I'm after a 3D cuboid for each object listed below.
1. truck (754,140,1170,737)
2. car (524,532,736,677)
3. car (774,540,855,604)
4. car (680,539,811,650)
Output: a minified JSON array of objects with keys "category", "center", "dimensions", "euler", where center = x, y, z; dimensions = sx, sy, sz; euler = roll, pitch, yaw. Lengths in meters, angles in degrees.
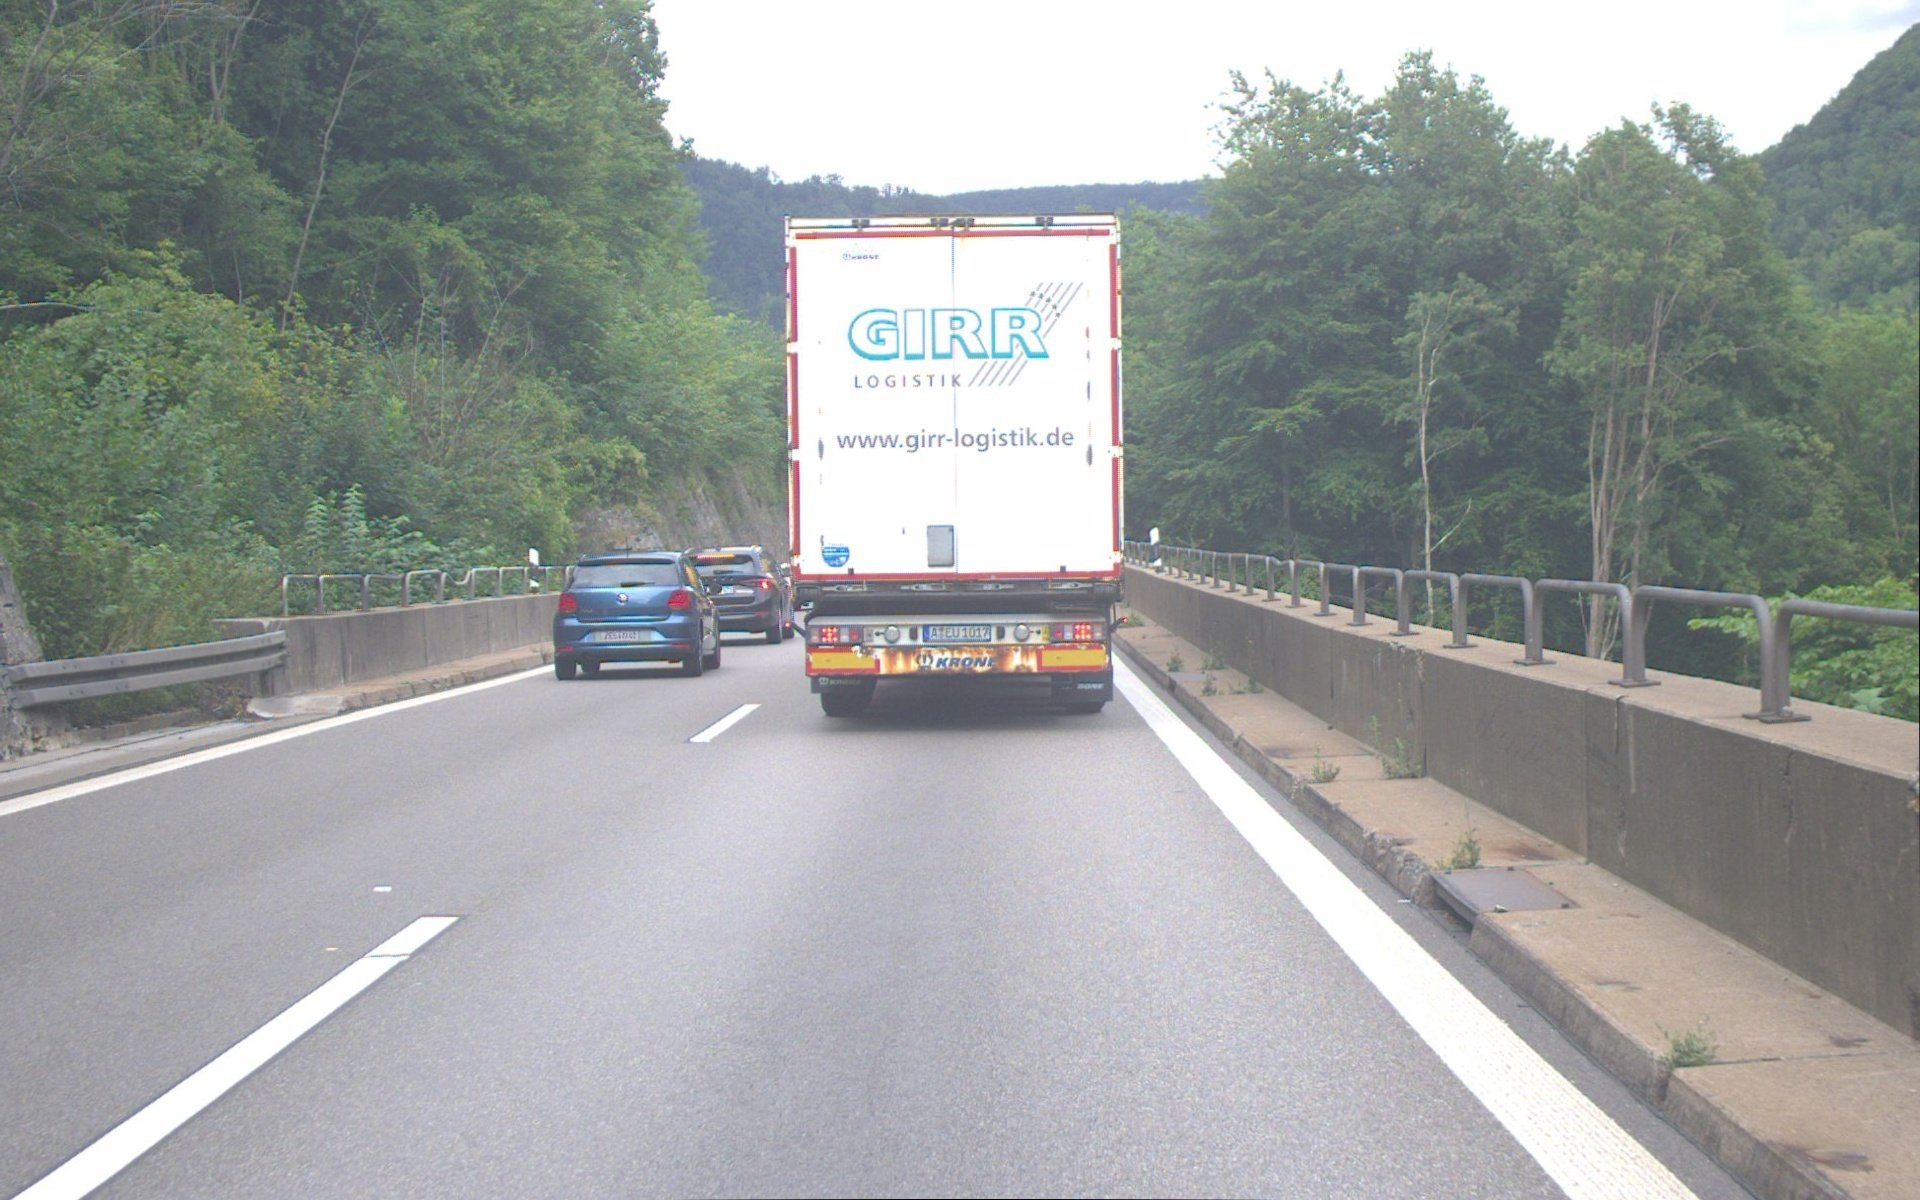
[{"category":"truck","center":[0.090,-1.485,33.413],"dimensions":[3.084,4.448,15.157],"euler":[1,2,1]},{"category":"car","center":[-3.782,0.015,40.081],"dimensions":[1.993,1.590,4.354],"euler":[0,1,1]},{"category":"car","center":[-3.397,-0.647,80.997],"dimensions":[1.745,1.481,4.000],"euler":[0,0,0]},{"category":"car","center":[-3.194,-0.114,51.854],"dimensions":[1.745,1.581,4.000],"euler":[-1,1,0]}]
